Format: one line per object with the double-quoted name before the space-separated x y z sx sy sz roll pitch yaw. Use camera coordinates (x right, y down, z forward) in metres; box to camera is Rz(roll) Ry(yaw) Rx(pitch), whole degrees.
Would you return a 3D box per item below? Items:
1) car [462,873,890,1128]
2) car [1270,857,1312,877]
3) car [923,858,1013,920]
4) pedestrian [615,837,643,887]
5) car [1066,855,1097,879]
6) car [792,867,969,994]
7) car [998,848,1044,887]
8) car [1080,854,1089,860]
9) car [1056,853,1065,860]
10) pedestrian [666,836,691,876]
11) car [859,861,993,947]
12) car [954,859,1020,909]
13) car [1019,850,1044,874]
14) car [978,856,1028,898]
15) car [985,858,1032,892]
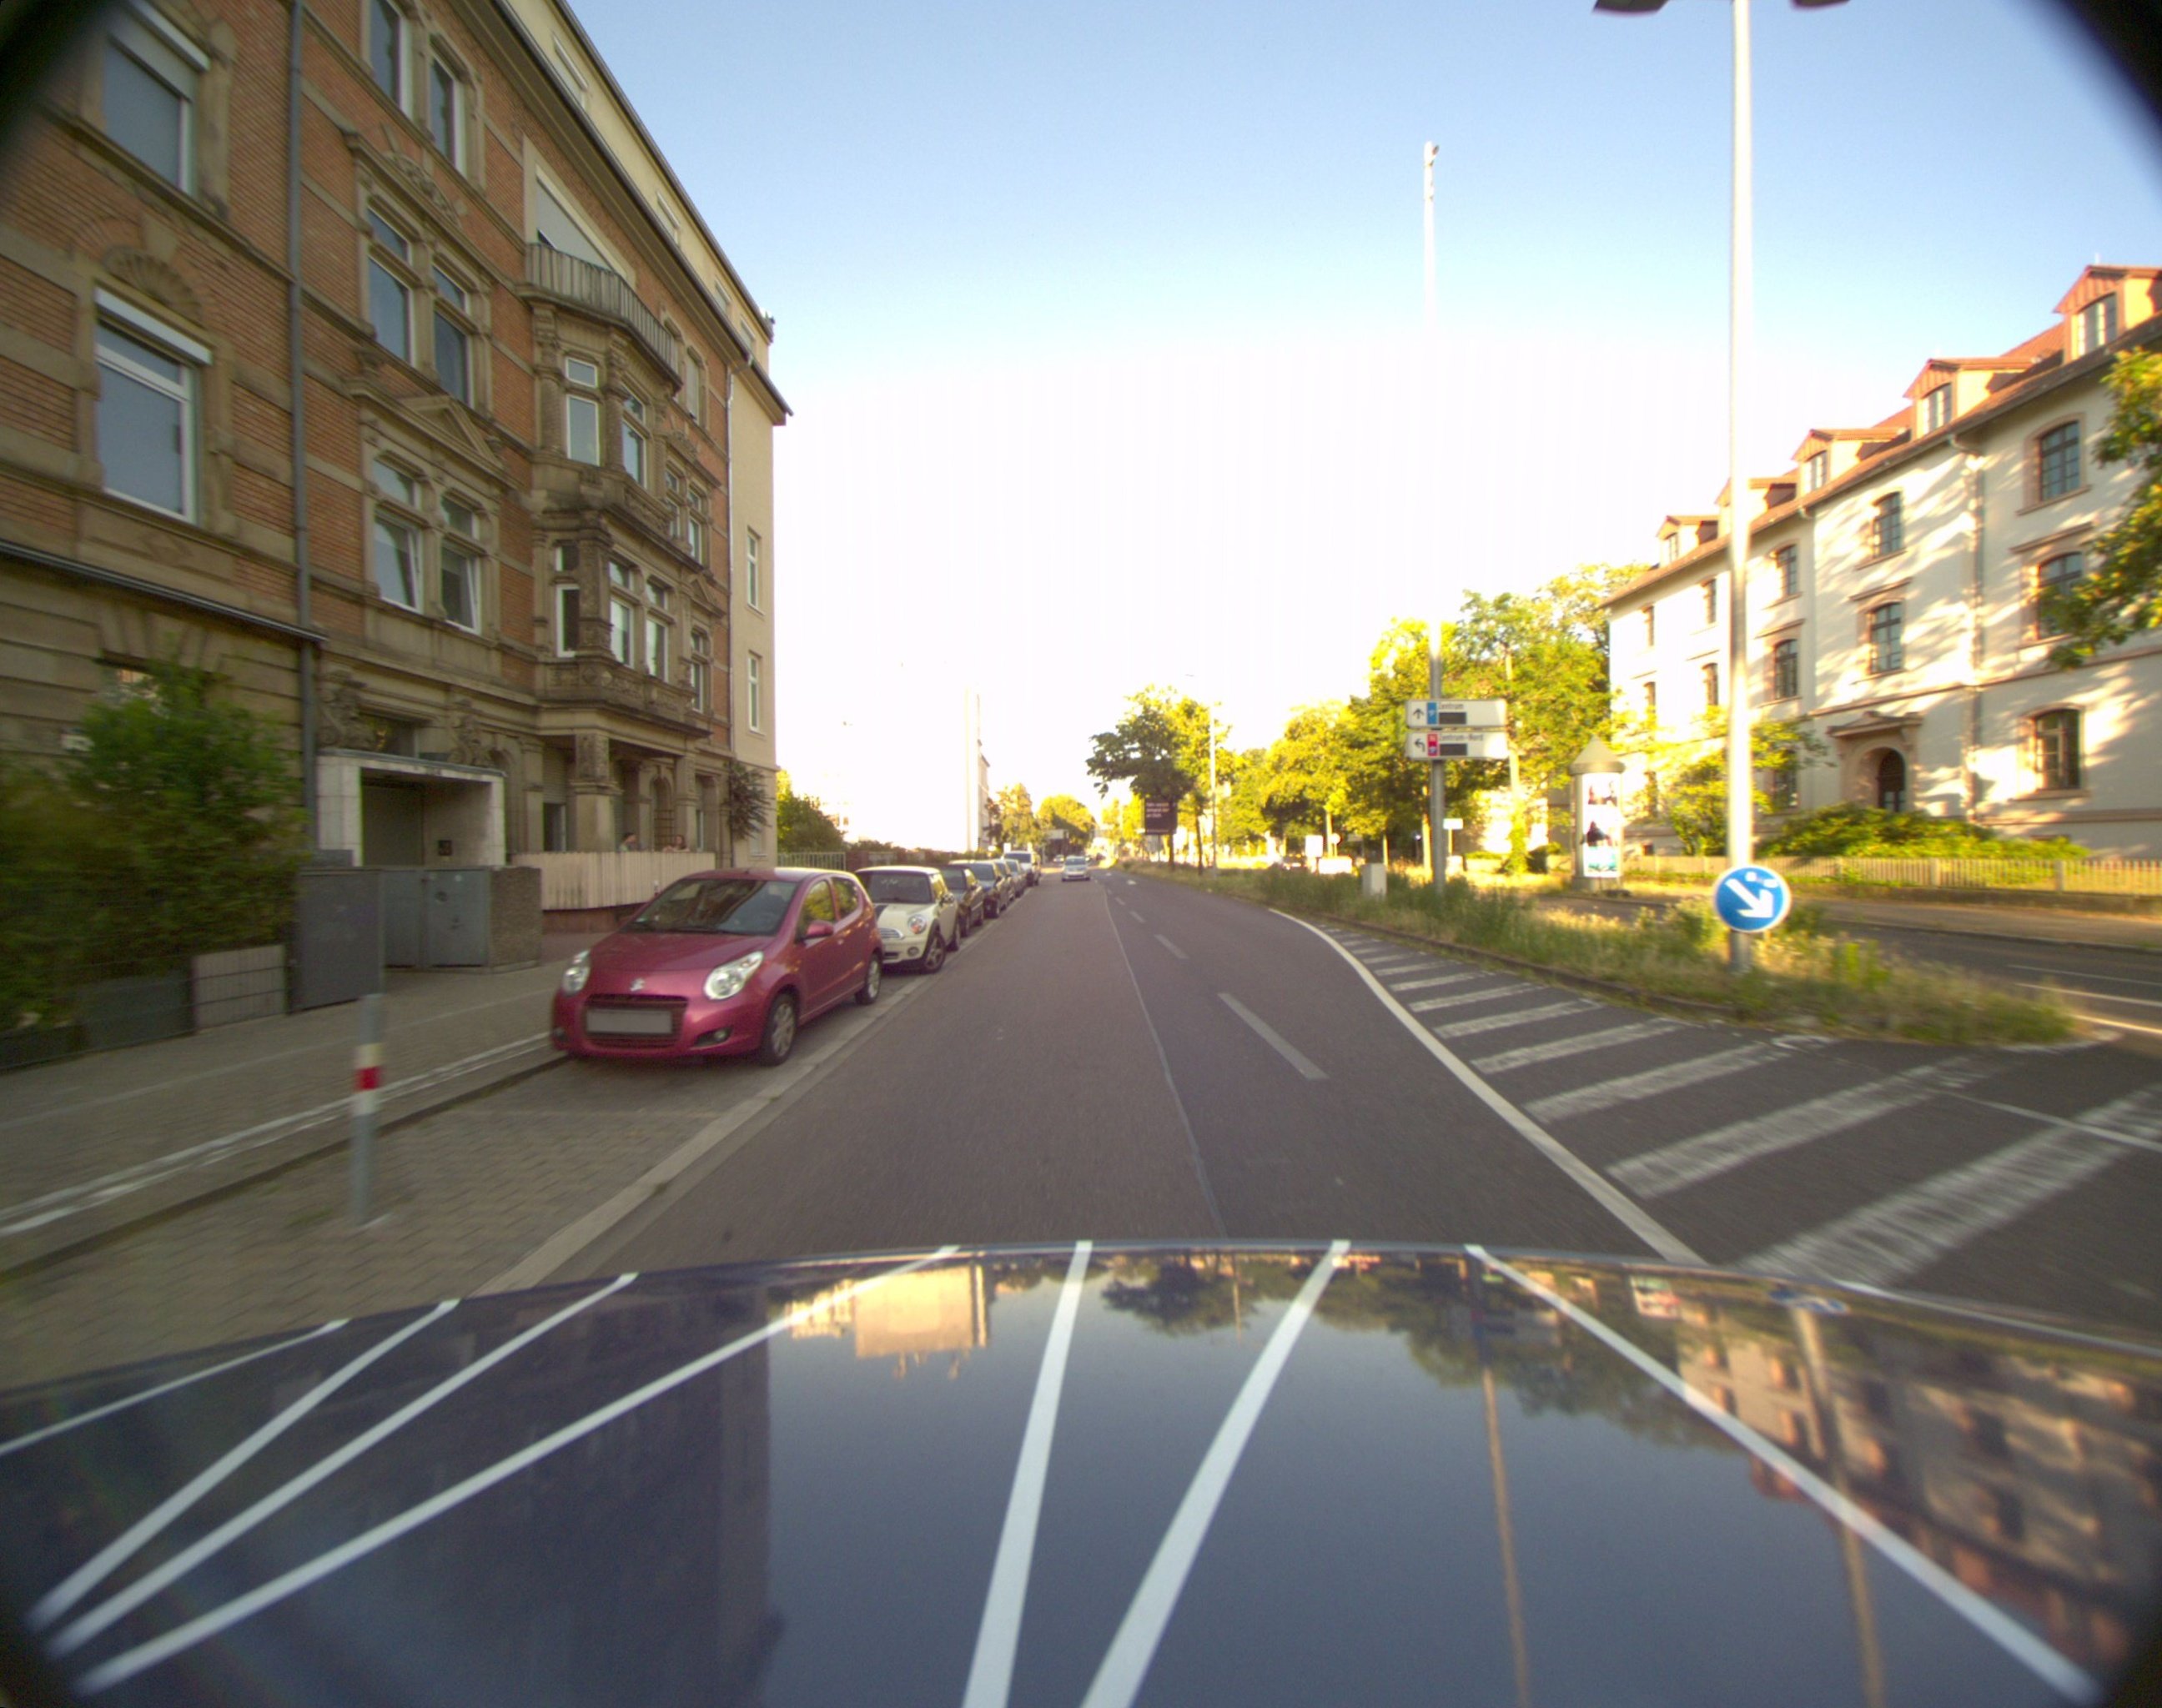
"car" -3.045 0.979 6.631 1.730 1.456 3.546 2 0 1
"car" 14.642 0.884 53.169 1.778 1.266 4.007 2 0 0
"car" -3.045 0.898 21.327 1.892 1.439 4.463 2 0 -1
"pedestrian" -9.626 0.169 16.189 0.402 1.023 0.320 -2 1 33
"car" -0.004 0.781 48.301 1.895 1.455 3.965 0 0 -1
"car" -2.748 0.973 11.210 1.681 1.418 3.675 2 0 -2
"car" -3.220 0.667 41.715 1.892 1.907 5.179 2 0 1
"car" 0.753 0.652 169.534 1.948 1.259 4.162 0 0 -2
"car" -4.650 0.482 171.086 1.948 1.514 4.162 0 0 -2
"pedestrian" -8.911 0.035 16.820 0.309 0.865 0.320 -2 1 33
"car" -3.081 0.932 16.049 1.892 1.418 4.341 2 0 0
"car" -3.084 0.949 25.641 1.751 1.418 3.839 2 0 -1
"car" -4.085 0.628 63.599 1.778 1.818 4.555 2 0 0
"car" -3.082 0.888 30.707 1.705 1.479 3.891 2 0 -2
"car" -3.354 0.946 35.851 1.732 1.377 4.642 2 0 -1
